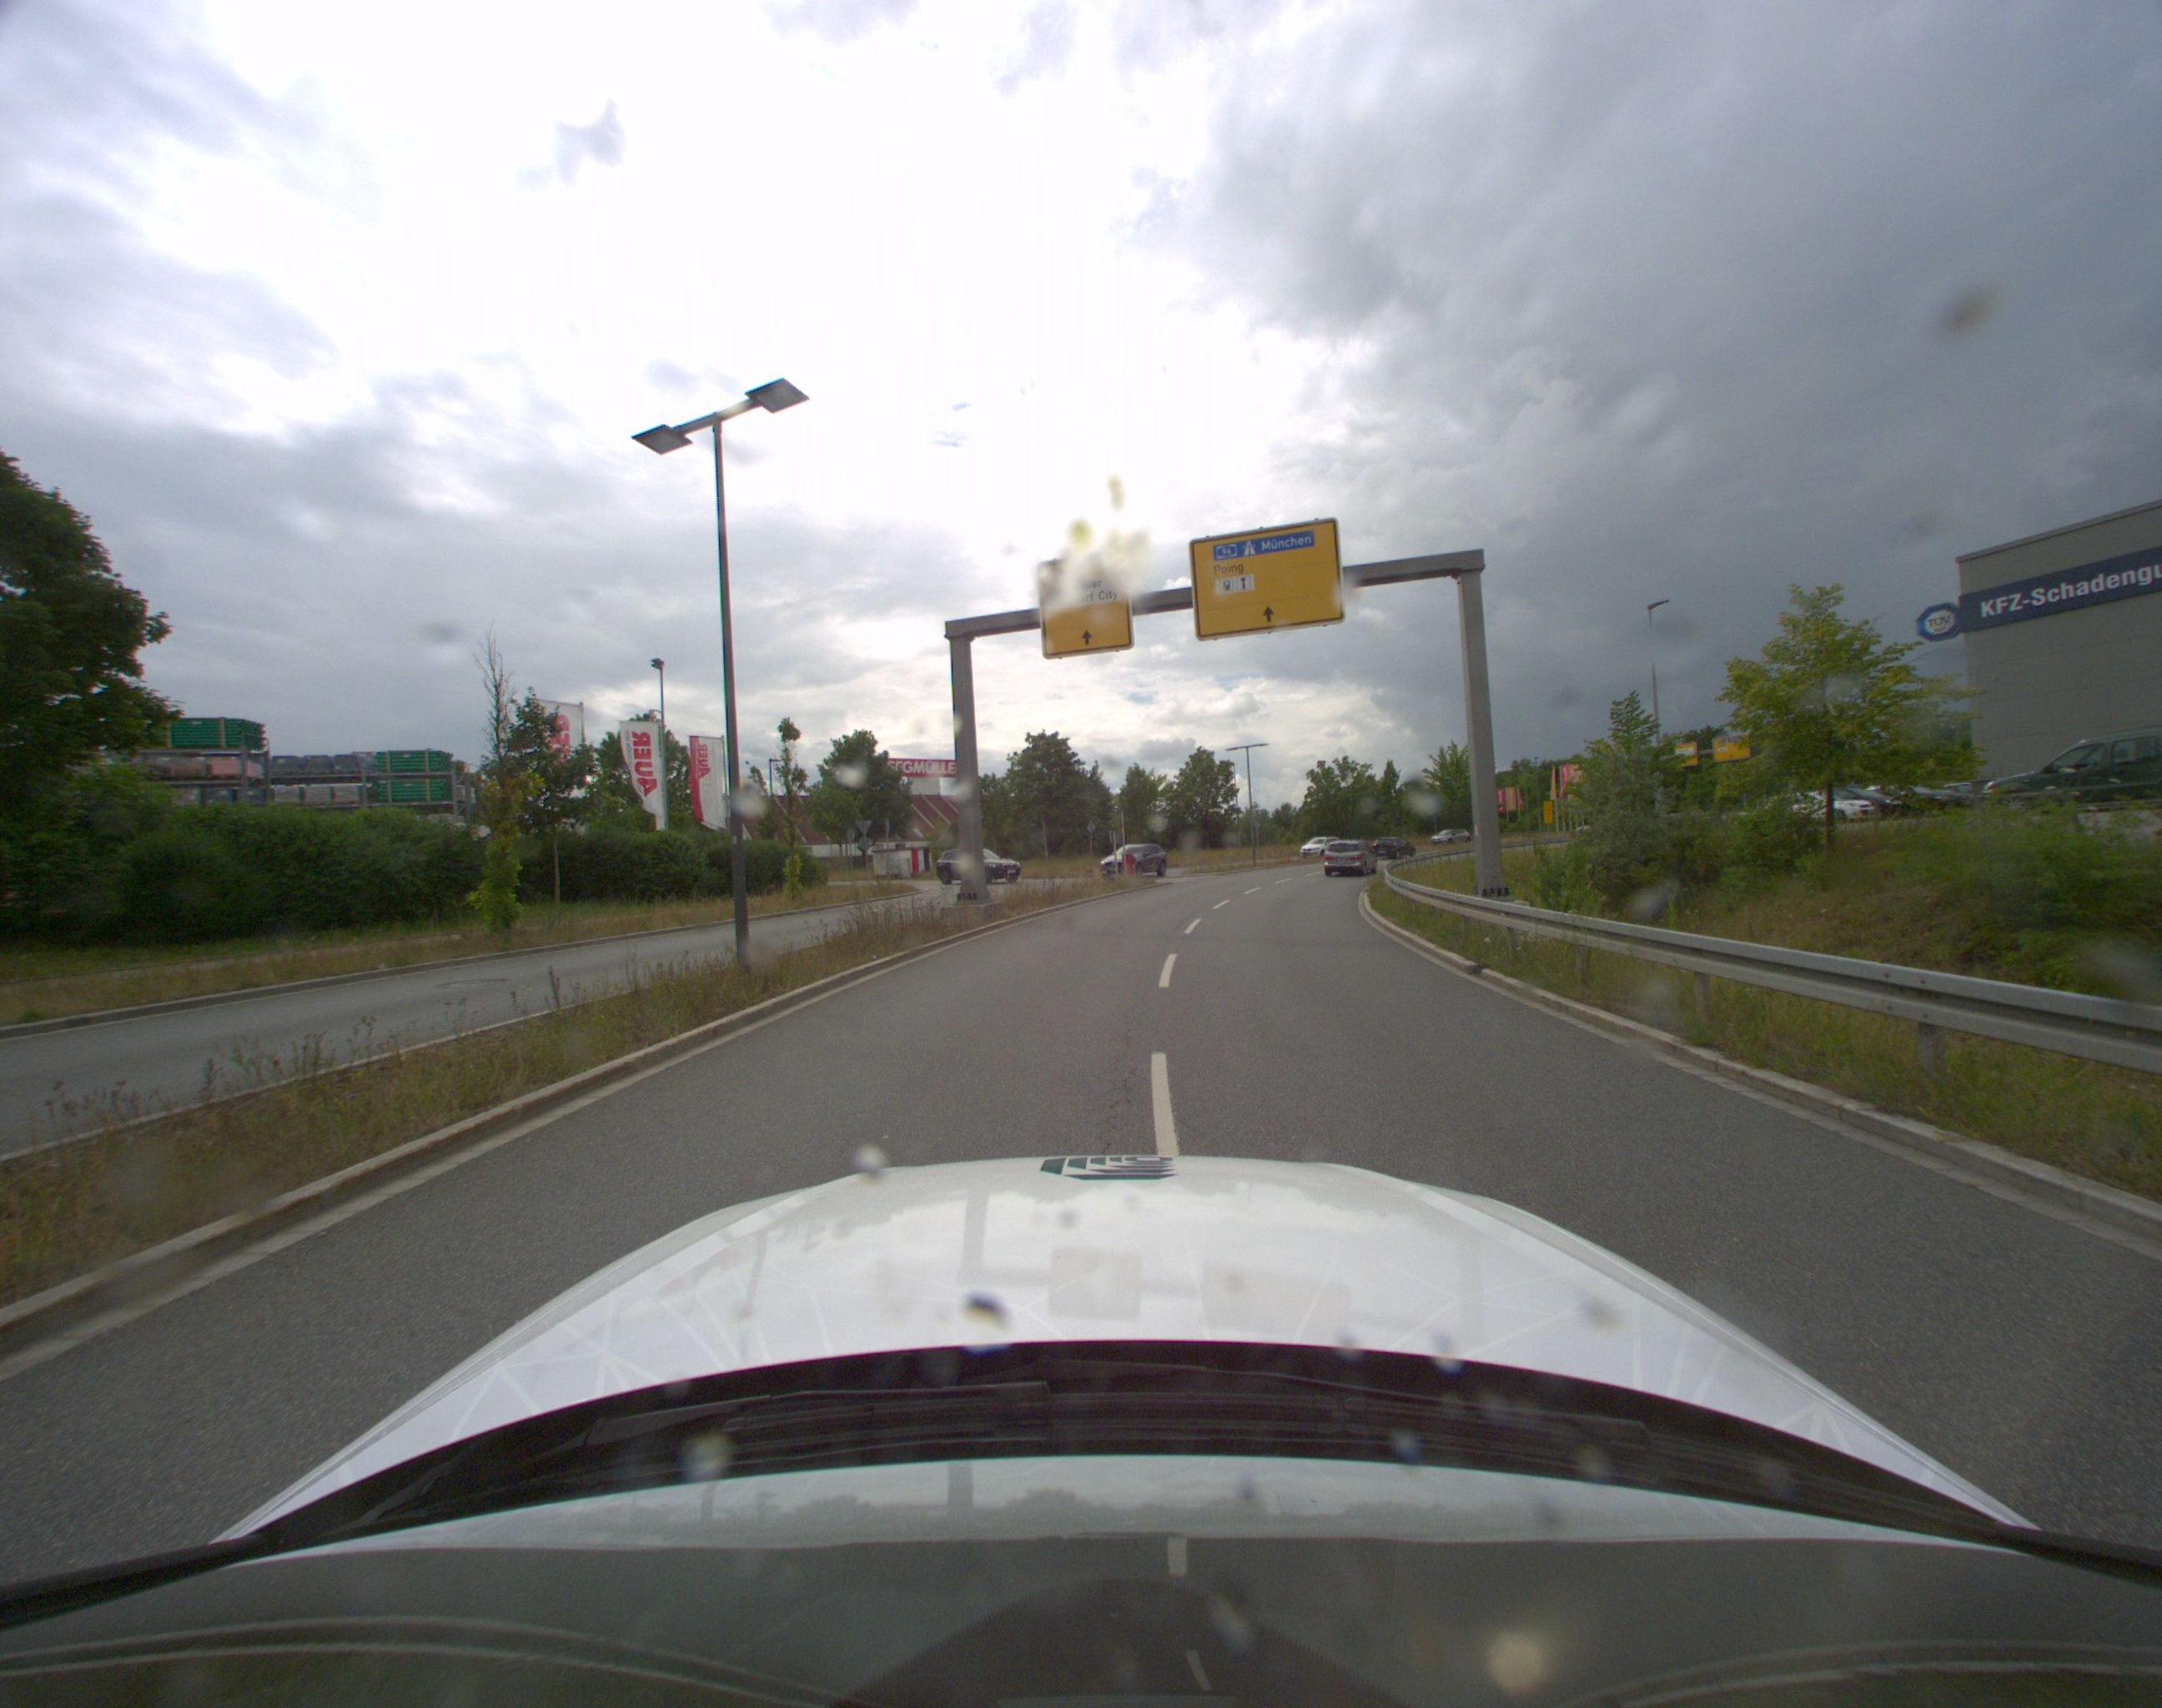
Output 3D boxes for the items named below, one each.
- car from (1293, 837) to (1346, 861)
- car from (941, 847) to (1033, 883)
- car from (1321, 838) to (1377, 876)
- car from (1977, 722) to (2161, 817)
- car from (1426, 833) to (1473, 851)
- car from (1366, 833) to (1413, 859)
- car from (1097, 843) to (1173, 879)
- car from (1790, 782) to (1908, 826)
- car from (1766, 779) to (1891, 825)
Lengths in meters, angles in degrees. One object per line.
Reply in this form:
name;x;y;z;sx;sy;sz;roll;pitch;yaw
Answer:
car;17.805;-0.414;60.753;4.290;1.634;1.700;-2;0;-41
car;-4.458;0.539;38.253;4.200;1.549;1.886;-2;0;39
car;12.317;0.103;37.262;1.750;1.616;3.945;-2;0;27
car;23.215;-1.929;18.138;1.705;1.811;3.945;-6;0;-18
car;33.269;-1.113;73.557;4.100;1.486;1.452;-2;0;-23
car;20.460;-0.514;53.934;1.851;1.605;3.759;-2;0;37
car;2.732;0.288;40.220;1.792;1.629;4.716;0;1;31
car;34.501;-2.220;36.699;1.730;1.635;3.426;-4;0;-17
car;32.510;-2.244;35.532;1.643;1.538;3.605;-4;-2;-18
